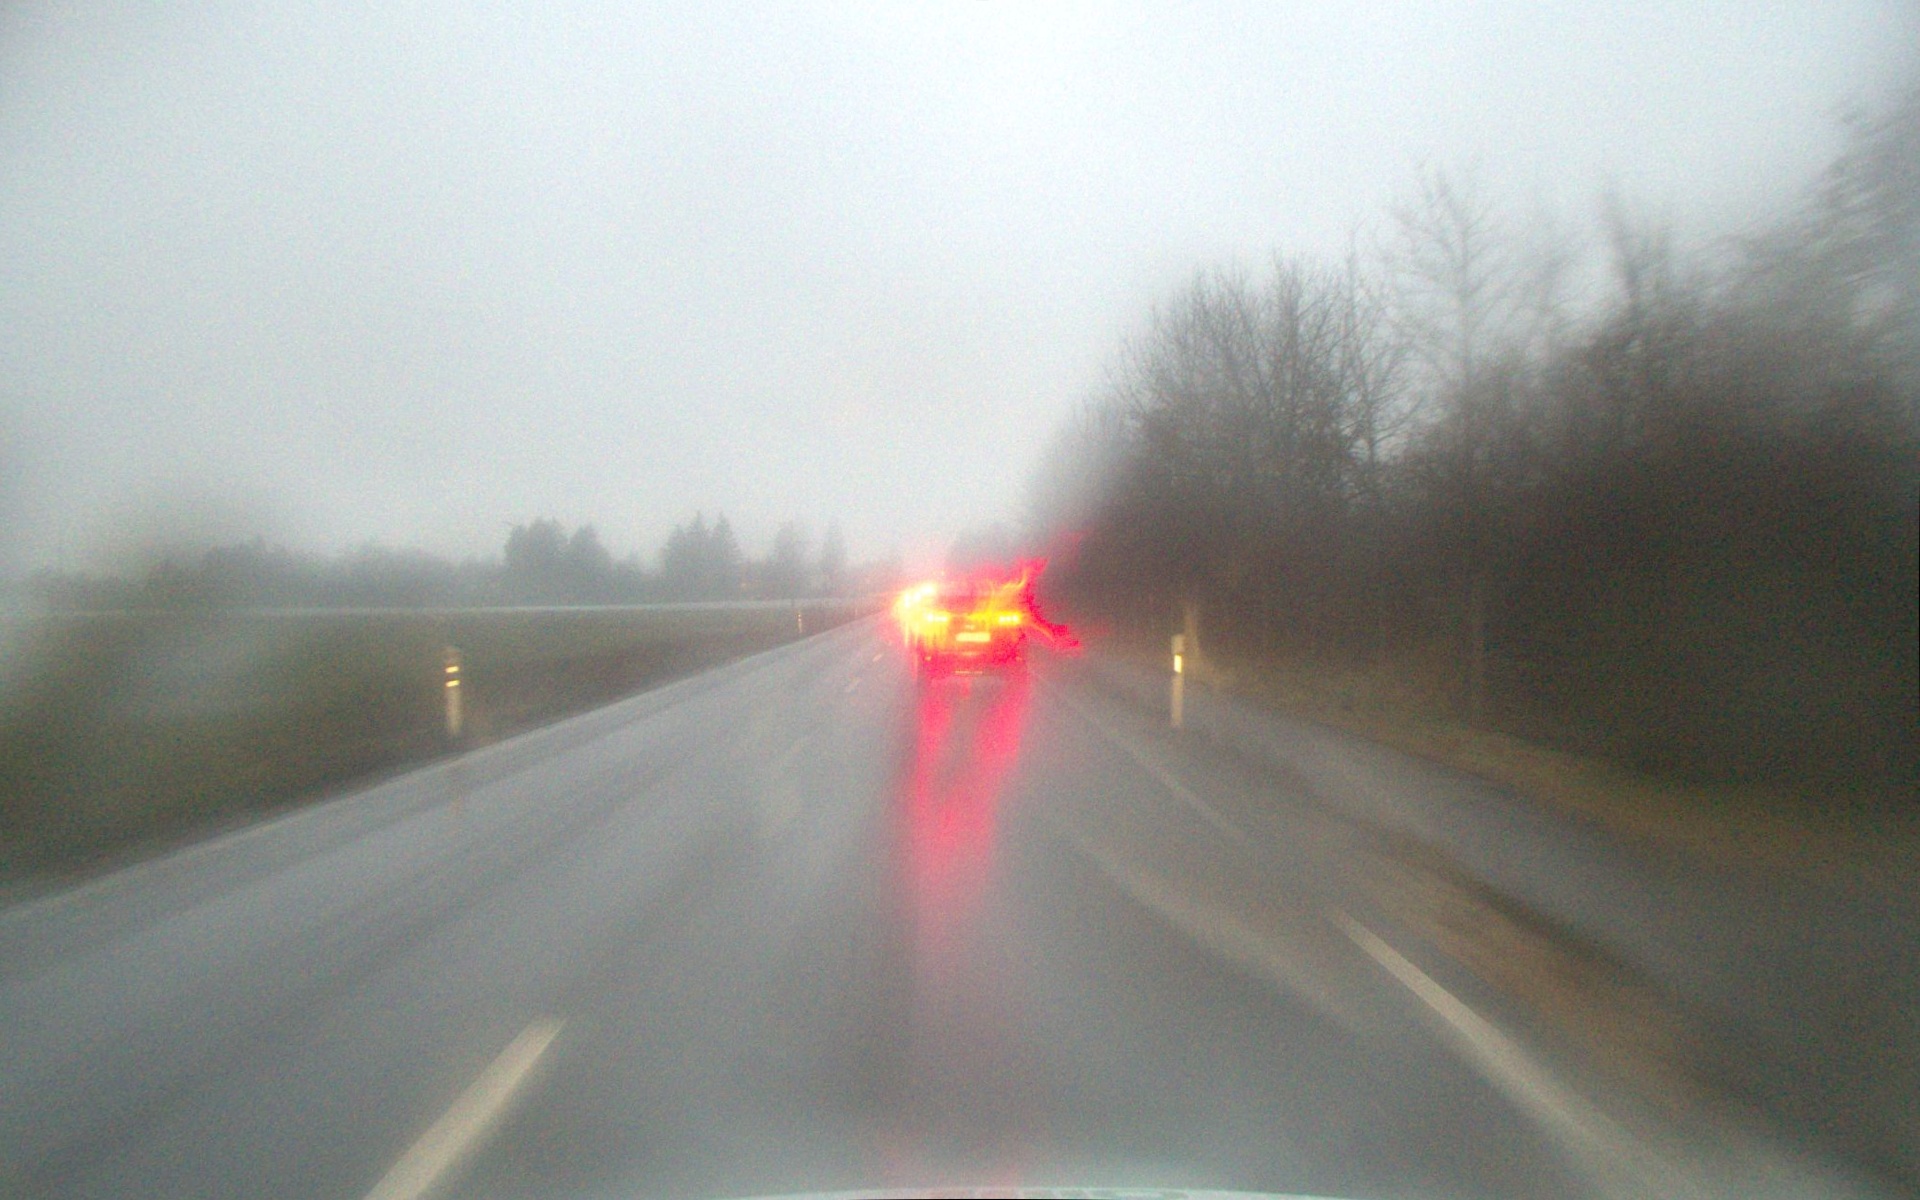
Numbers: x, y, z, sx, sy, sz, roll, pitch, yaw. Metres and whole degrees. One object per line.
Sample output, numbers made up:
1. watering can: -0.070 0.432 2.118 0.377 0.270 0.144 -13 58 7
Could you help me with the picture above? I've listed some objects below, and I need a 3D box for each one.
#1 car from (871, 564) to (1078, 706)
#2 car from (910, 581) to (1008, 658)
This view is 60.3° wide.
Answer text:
1. car: 0.192 0.494 28.429 3.100 2.071 6.851 -1 0 -1
2. car: -0.058 0.523 49.274 2.700 2.071 6.590 -1 0 -1
